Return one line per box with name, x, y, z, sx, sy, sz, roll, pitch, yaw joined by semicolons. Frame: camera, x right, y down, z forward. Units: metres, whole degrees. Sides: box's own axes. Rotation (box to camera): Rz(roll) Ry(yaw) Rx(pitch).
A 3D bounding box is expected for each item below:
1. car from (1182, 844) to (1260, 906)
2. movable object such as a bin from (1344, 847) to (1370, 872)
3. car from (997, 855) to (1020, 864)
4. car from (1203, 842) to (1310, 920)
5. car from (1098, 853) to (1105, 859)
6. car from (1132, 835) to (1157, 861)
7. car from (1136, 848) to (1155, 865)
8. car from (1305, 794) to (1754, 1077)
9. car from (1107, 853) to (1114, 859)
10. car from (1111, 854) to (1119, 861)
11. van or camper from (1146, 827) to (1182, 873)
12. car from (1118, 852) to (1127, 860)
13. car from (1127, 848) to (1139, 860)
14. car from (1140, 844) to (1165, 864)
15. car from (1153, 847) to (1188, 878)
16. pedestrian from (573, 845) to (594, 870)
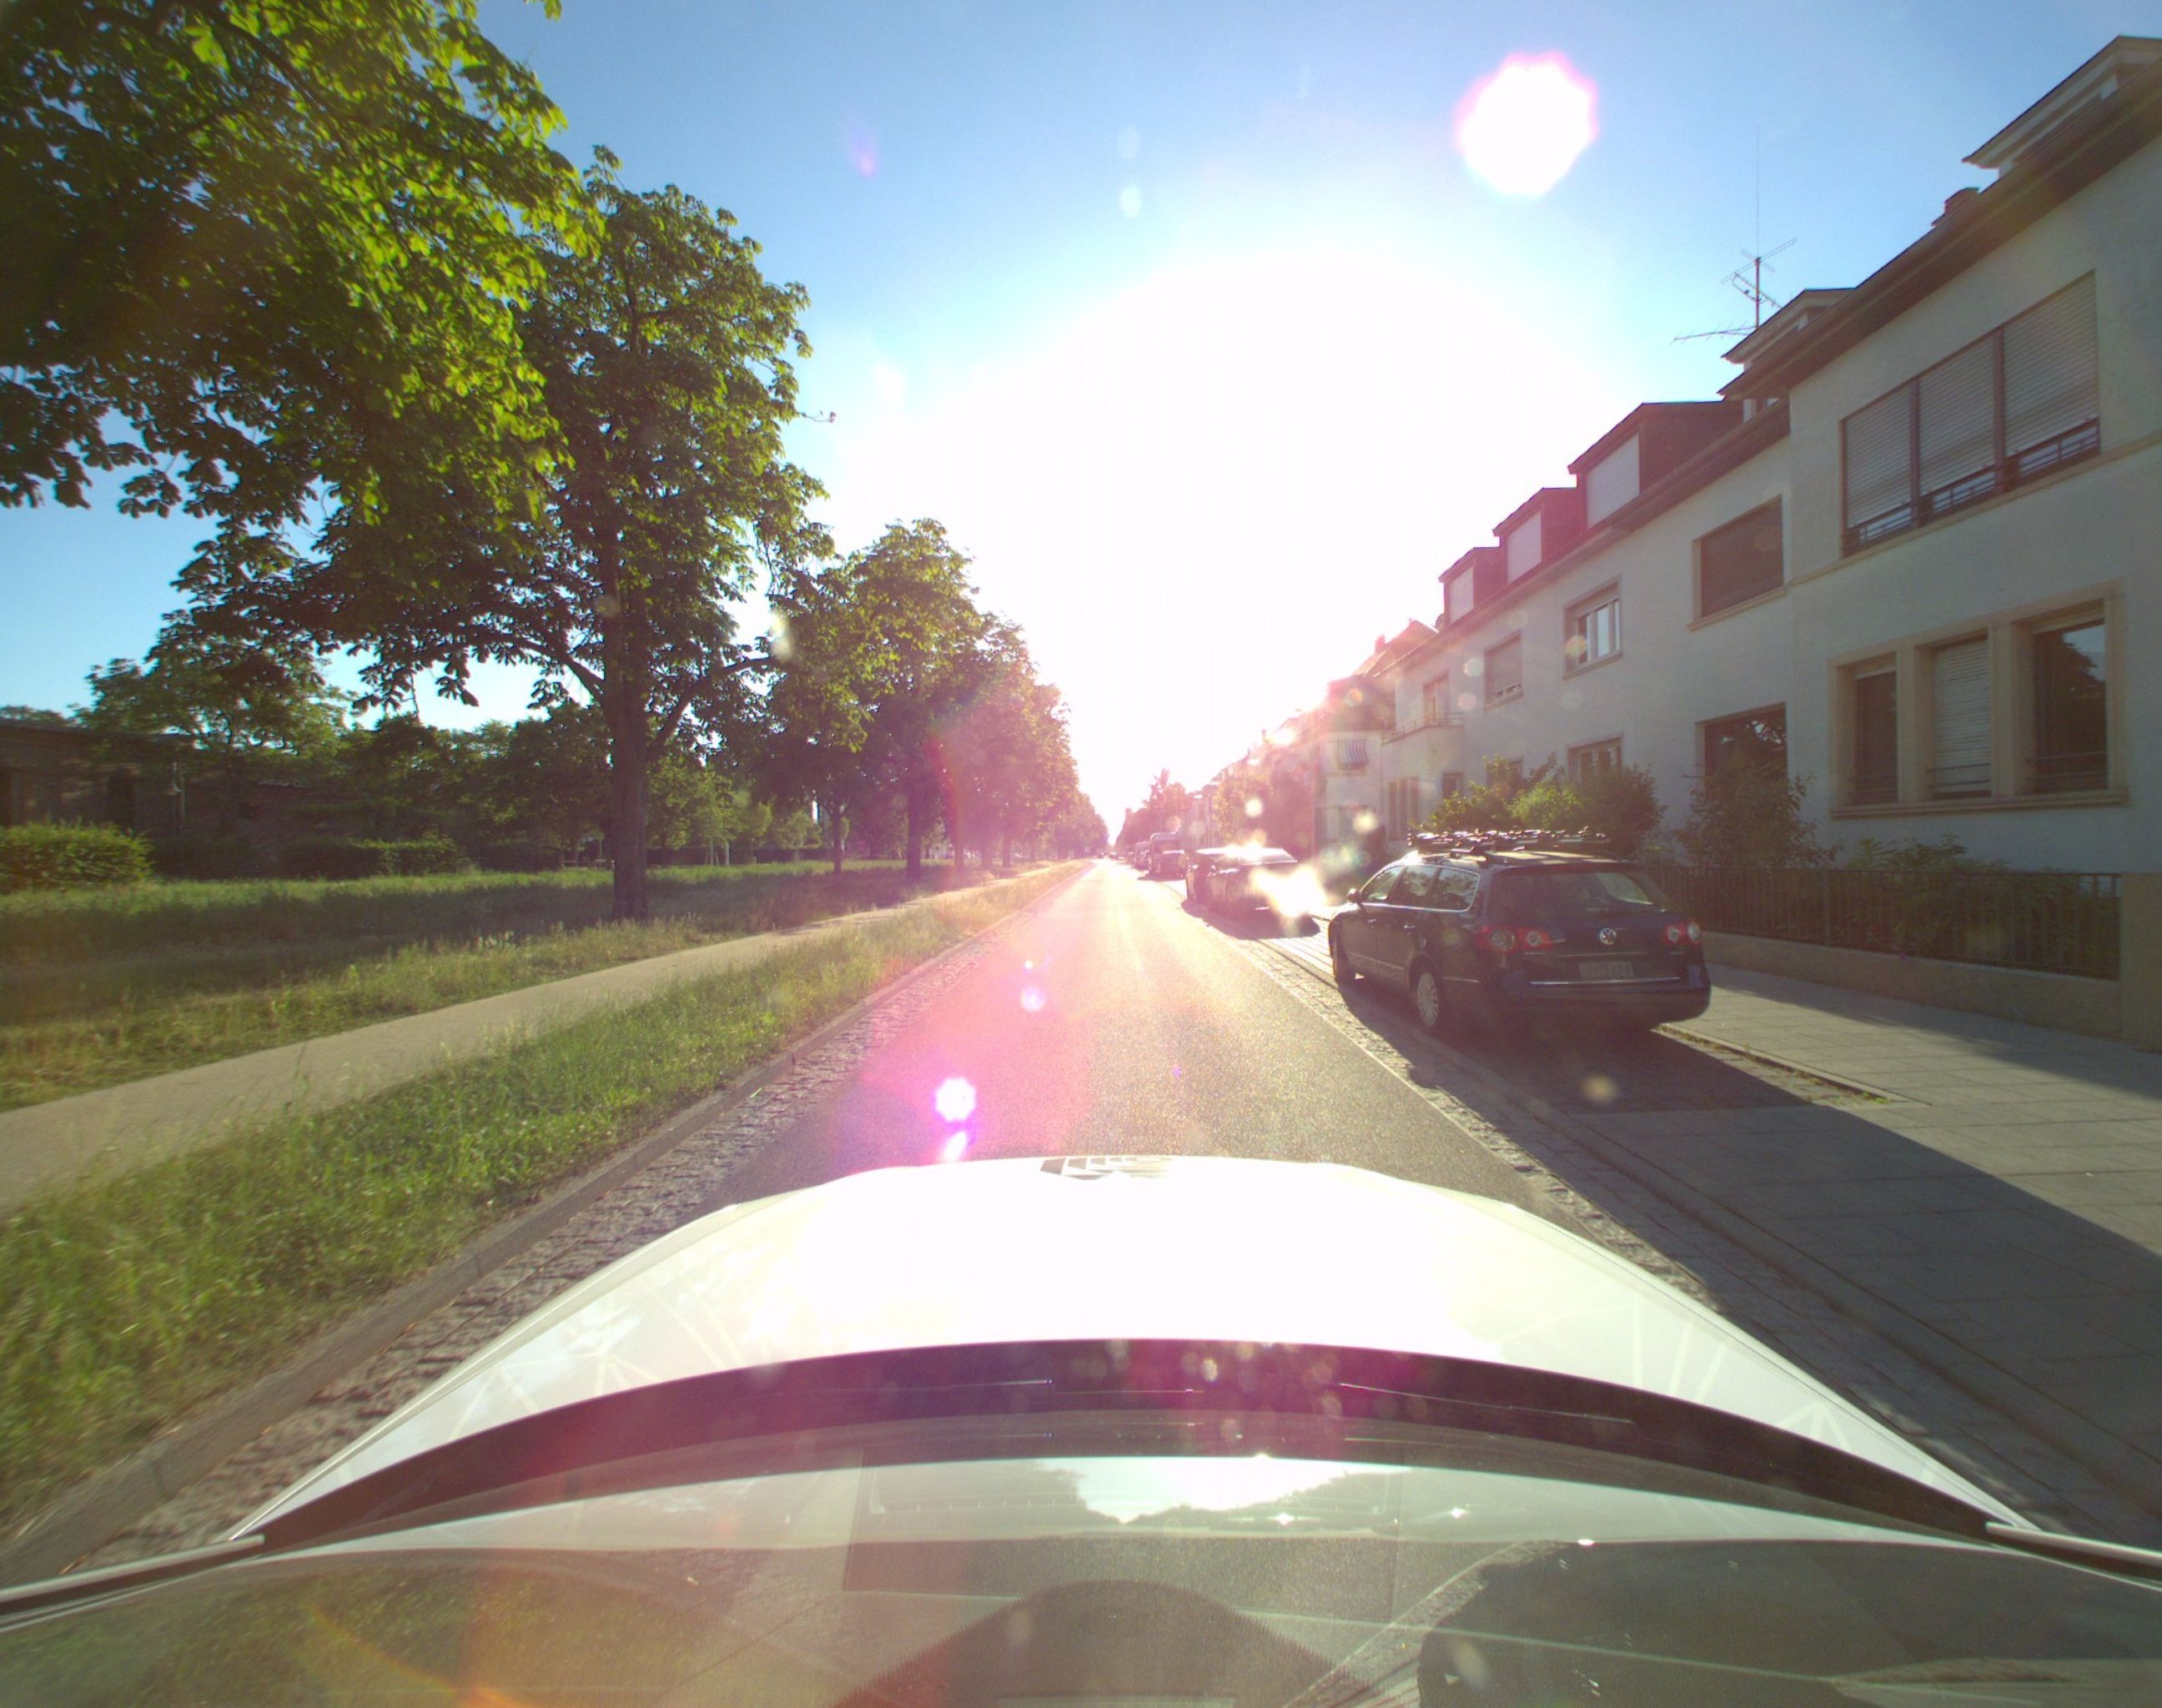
car;4.229;0.566;25.300;1.825;1.685;4.418;1;1;2
movable object such as a bin;12.565;0.236;37.036;0.980;1.100;0.791;0;0;6
car;-13.981;1.010;156.218;4.341;1.764;1.996;0;0;-7
car;4.076;0.572;19.533;1.711;1.574;4.212;-3;0;2
car;5.820;0.537;230.348;1.856;1.597;3.871;0;0;1
car;6.428;-0.606;82.900;2.119;2.532;5.188;-2;1;0
car;6.049;0.220;76.749;1.643;1.530;3.855;-2;1;3
car;3.573;0.512;7.605;1.787;1.771;4.475;-3;1;2
car;7.977;0.548;220.830;1.856;1.597;3.871;0;0;1
car;7.928;0.749;188.792;1.856;1.597;3.895;0;0;1
van or camper;5.297;-0.228;52.563;1.936;2.777;5.943;0;0;2
car;8.673;0.334;170.423;1.643;1.530;3.855;-2;1;3
car;7.294;-0.001;114.587;1.643;1.530;3.855;-2;1;3
car;6.216;-0.046;71.259;1.830;1.635;4.132;-2;1;1
car;5.042;0.458;46.259;1.657;1.593;4.088;-3;0;2
pedestrian;-36.943;0.244;60.524;1.044;1.881;0.798;0;0;4
